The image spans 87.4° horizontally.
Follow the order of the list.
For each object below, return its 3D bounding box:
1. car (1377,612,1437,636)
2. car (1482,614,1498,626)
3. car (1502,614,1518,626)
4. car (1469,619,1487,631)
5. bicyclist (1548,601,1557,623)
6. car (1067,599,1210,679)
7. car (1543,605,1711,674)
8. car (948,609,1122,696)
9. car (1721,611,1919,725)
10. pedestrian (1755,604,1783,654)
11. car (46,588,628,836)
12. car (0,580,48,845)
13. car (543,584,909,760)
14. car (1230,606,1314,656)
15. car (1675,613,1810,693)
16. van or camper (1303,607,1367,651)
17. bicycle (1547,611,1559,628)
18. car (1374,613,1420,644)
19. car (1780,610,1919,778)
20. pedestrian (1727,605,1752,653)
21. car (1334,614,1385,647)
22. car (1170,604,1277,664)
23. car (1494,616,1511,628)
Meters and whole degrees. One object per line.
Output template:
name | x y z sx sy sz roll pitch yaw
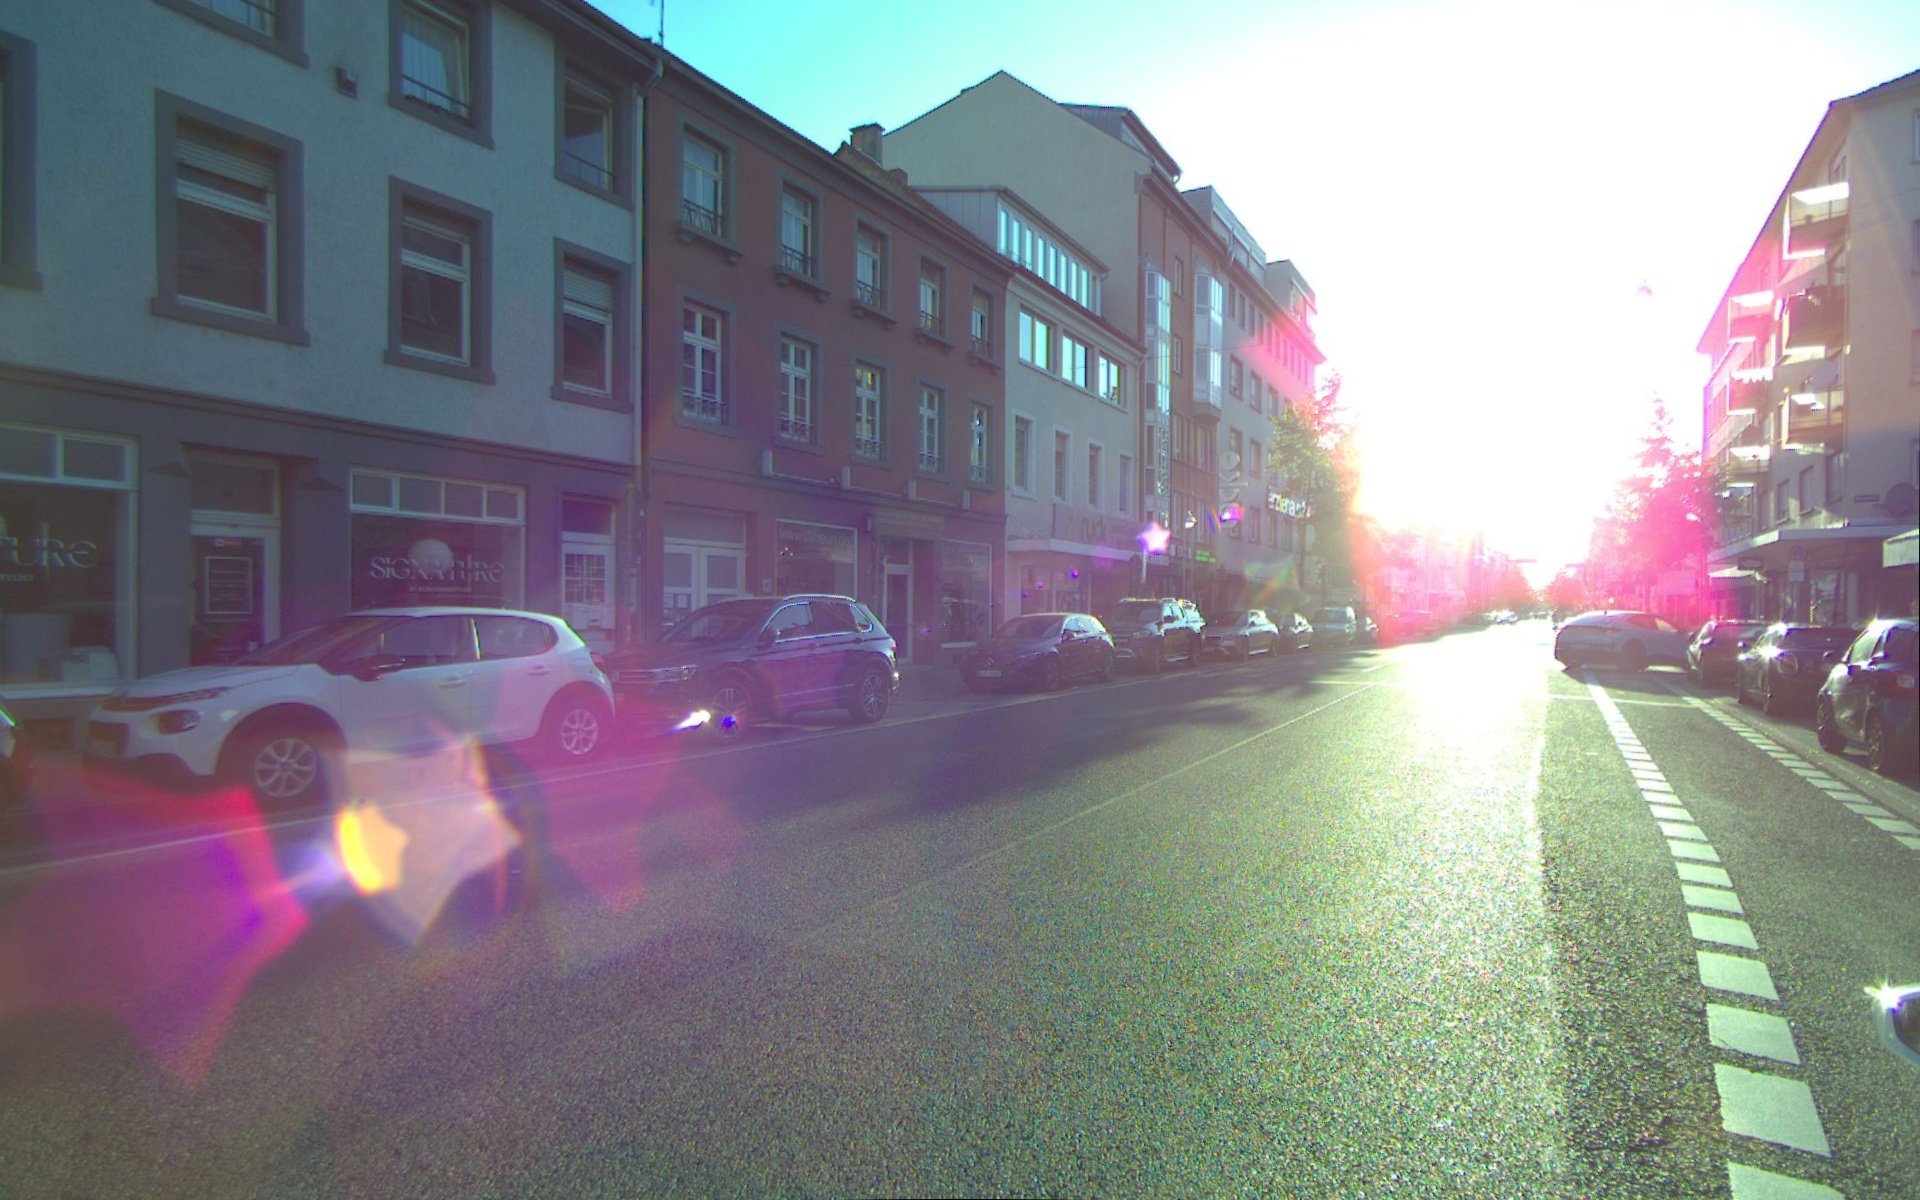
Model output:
car | 30.525 1.645 68.663 1.612 1.430 3.638 2 1 -22
car | 72.212 2.692 136.801 1.666 1.523 3.777 0 0 32
car | 73.674 2.720 134.472 1.666 1.523 3.777 0 0 32
car | 66.692 3.213 129.293 1.666 1.523 3.777 0 0 32
bicyclist | 43.964 0.874 74.490 0.539 1.602 0.800 0 0 34
car | 4.633 0.915 25.283 1.964 1.800 5.310 -1 -1 29
car | 18.347 1.089 27.624 4.262 1.720 1.867 2 1 -25
car | 1.616 0.969 19.855 1.661 1.507 4.402 -3 -2 30
car | 13.906 1.002 16.421 1.762 1.601 3.781 0 0 29
pedestrian | 29.902 1.066 37.131 0.708 1.815 0.665 0 0 32
car | -4.974 0.760 8.595 1.638 1.594 3.926 -2 -1 31
car | -7.185 0.673 5.180 1.504 1.591 3.413 -1 -1 32
car | -2.575 0.752 12.219 1.768 1.721 4.452 -2 -1 30
car | 11.237 1.060 35.977 1.964 1.677 4.471 0 0 30
car | 17.302 1.098 22.402 1.762 1.601 3.781 0 0 29
van or camper | 16.532 1.220 44.133 1.763 1.797 4.546 0 0 32
bicycle | 44.032 1.438 74.578 0.654 1.259 2.124 3 1 34
car | 23.097 1.482 53.032 1.666 1.523 3.777 0 0 32
car | 10.613 0.917 11.036 1.762 1.601 3.960 0 0 29
pedestrian | 30.368 1.121 39.135 0.708 1.815 0.665 0 0 32
car | 19.520 1.447 48.982 1.666 1.523 3.777 0 0 32
car | 8.173 0.995 30.849 1.965 1.677 4.617 -1 -1 31
car | 69.113 2.814 127.944 1.666 1.523 3.777 0 0 32
